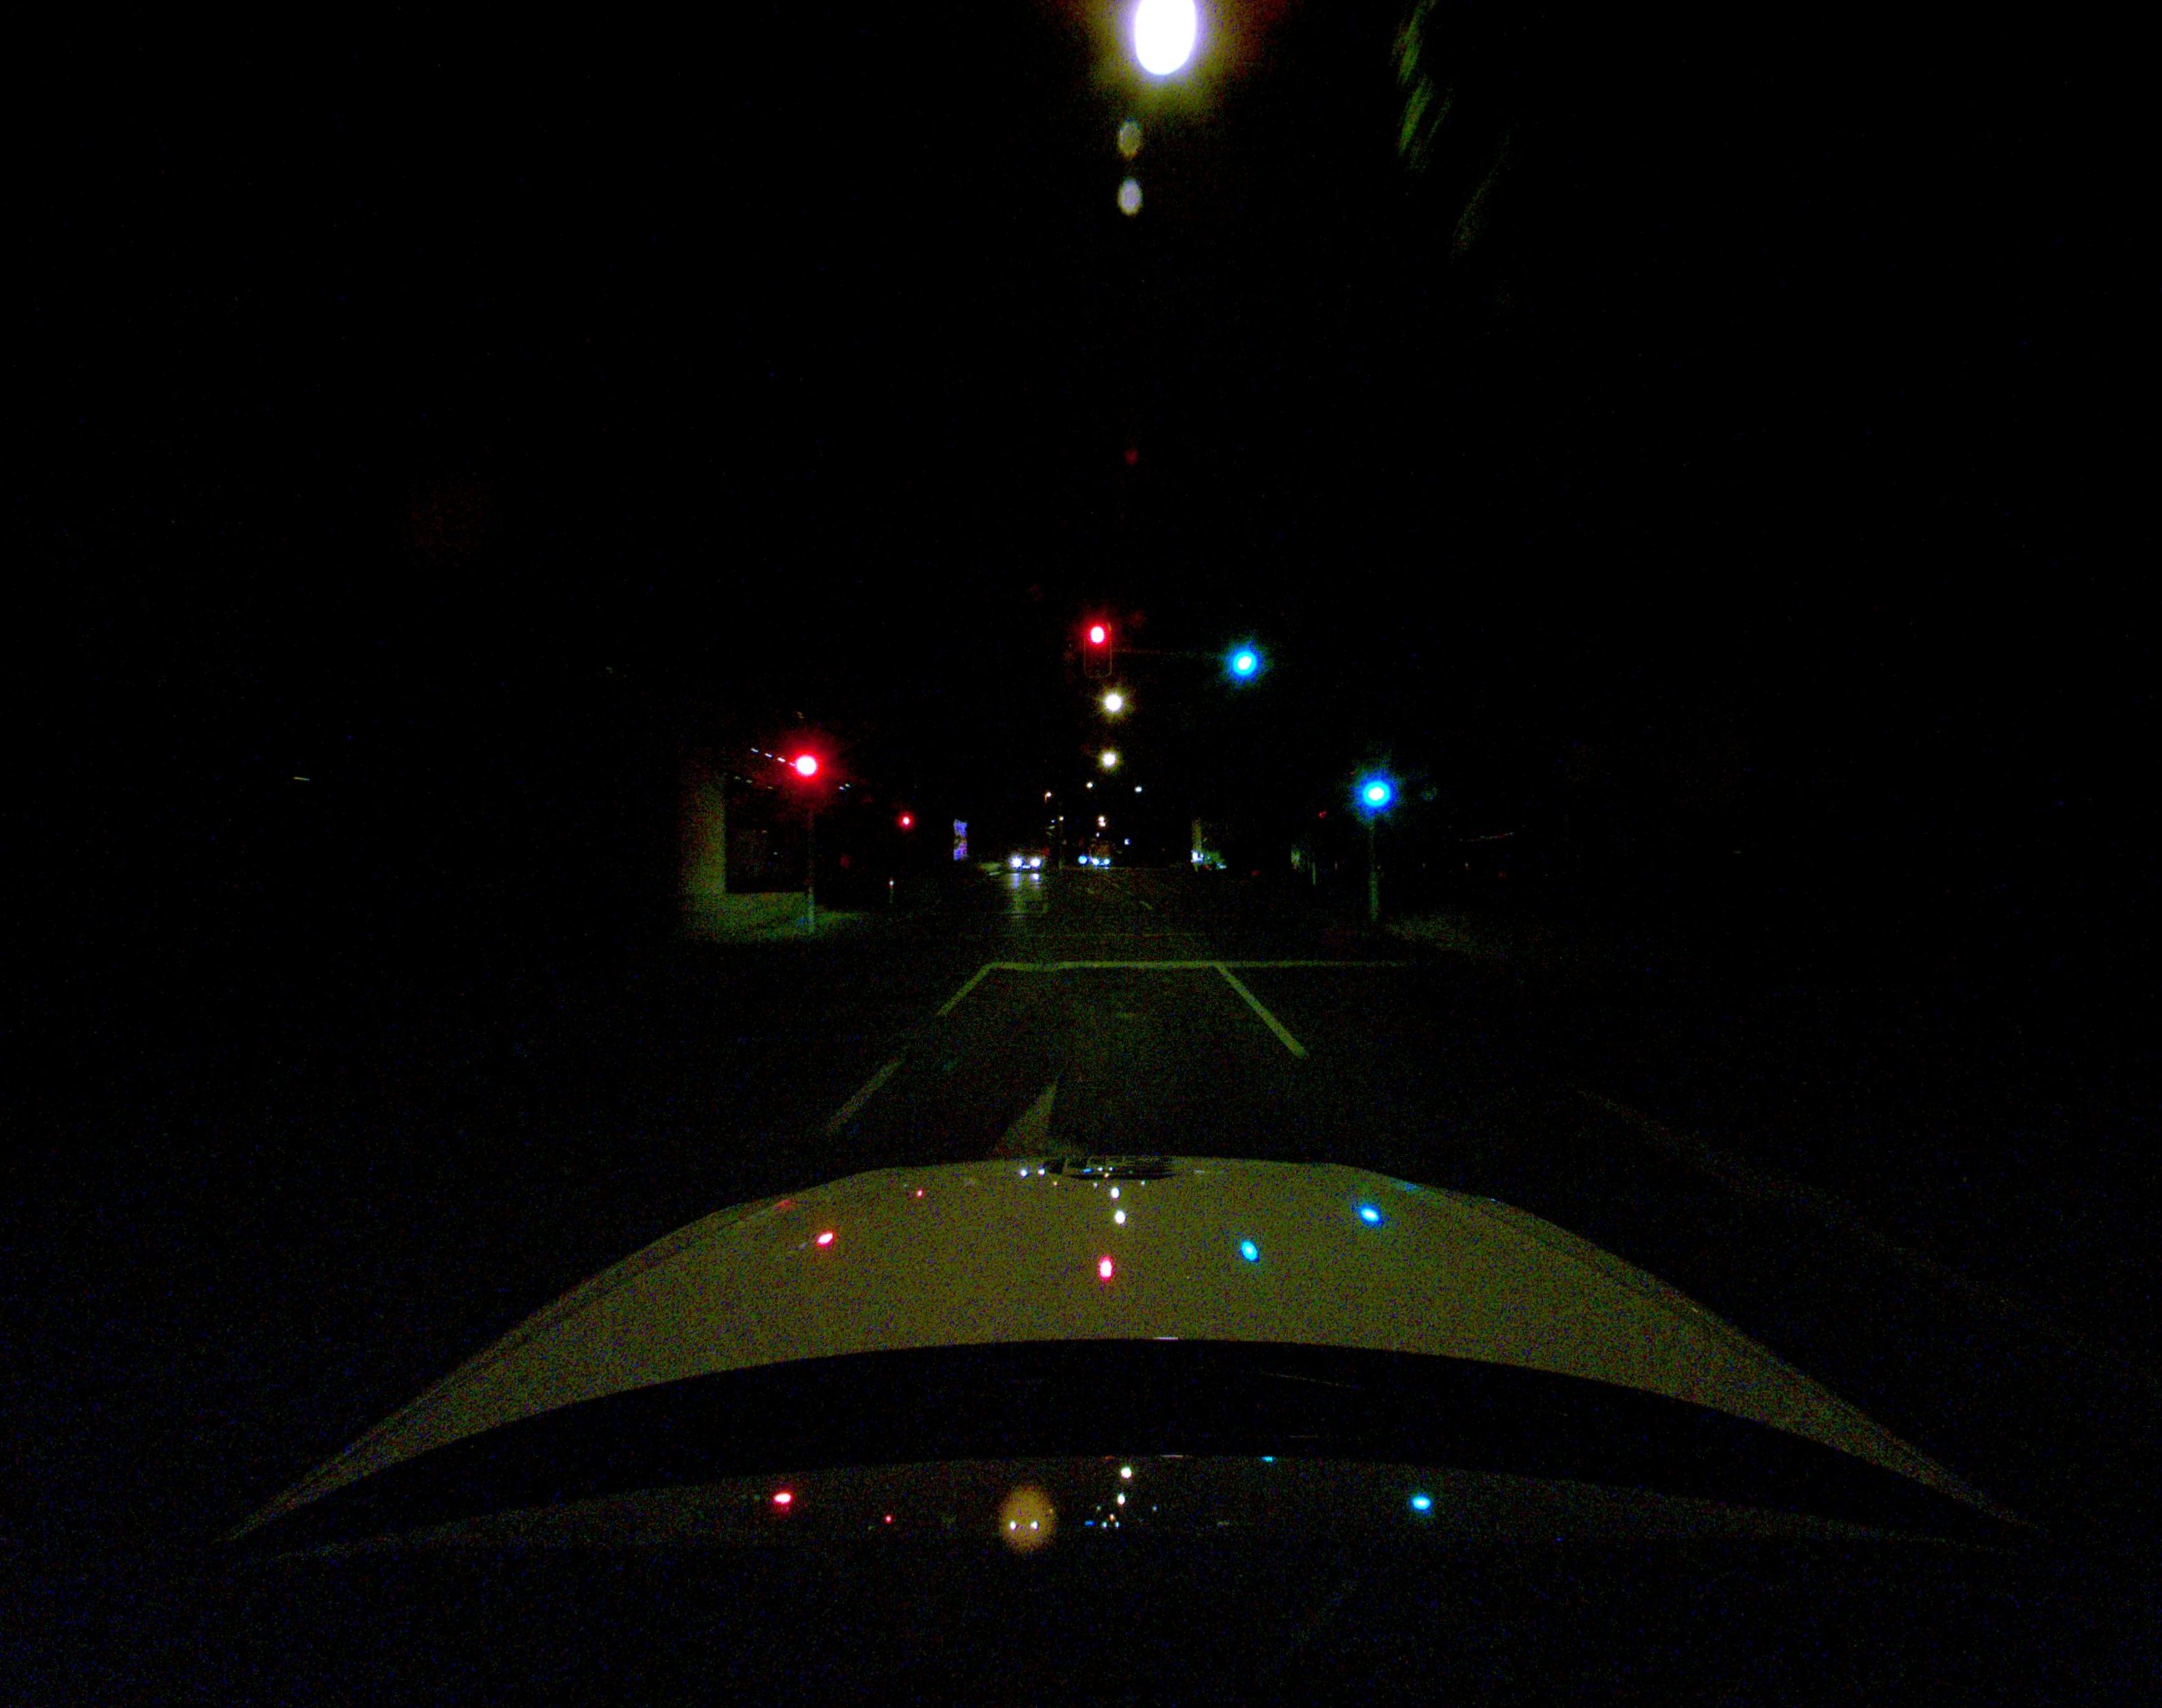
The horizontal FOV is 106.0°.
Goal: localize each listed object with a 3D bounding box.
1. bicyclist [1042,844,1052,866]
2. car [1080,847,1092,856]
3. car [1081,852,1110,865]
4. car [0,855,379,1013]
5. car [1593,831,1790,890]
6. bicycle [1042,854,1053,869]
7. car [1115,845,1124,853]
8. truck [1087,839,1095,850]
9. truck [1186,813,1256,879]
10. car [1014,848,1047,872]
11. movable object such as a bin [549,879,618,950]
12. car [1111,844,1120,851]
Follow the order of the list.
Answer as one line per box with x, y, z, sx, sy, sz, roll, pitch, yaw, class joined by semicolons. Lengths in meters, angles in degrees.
-2.604;0.074;62.899;0.688;1.637;0.896;-1;0;1;bicyclist
0.883;-0.446;141.986;1.808;1.684;4.002;-1;0;2;car
1.582;0.458;91.504;1.921;1.388;4.555;0;0;-18;car
-9.728;0.757;8.475;3.347;1.451;1.674;-1;0;-1;car
17.411;0.195;23.410;4.107;1.280;1.770;-5;-1;8;car
-2.598;0.591;62.944;0.693;1.149;1.951;-1;0;2;bicycle
7.082;-0.836;150.479;1.628;1.451;3.486;0;0;1;car
2.664;-2.585;216.884;2.080;2.848;5.831;0;0;0;truck
7.030;-0.388;41.611;2.739;3.110;6.262;0;0;2;truck
-3.309;0.362;53.944;1.850;1.534;4.029;0;0;1;car
-7.806;0.935;12.790;0.633;1.049;0.657;-1;0;19;movable object such as a bin
7.050;-1.386;166.437;1.628;1.451;3.486;0;0;1;car
